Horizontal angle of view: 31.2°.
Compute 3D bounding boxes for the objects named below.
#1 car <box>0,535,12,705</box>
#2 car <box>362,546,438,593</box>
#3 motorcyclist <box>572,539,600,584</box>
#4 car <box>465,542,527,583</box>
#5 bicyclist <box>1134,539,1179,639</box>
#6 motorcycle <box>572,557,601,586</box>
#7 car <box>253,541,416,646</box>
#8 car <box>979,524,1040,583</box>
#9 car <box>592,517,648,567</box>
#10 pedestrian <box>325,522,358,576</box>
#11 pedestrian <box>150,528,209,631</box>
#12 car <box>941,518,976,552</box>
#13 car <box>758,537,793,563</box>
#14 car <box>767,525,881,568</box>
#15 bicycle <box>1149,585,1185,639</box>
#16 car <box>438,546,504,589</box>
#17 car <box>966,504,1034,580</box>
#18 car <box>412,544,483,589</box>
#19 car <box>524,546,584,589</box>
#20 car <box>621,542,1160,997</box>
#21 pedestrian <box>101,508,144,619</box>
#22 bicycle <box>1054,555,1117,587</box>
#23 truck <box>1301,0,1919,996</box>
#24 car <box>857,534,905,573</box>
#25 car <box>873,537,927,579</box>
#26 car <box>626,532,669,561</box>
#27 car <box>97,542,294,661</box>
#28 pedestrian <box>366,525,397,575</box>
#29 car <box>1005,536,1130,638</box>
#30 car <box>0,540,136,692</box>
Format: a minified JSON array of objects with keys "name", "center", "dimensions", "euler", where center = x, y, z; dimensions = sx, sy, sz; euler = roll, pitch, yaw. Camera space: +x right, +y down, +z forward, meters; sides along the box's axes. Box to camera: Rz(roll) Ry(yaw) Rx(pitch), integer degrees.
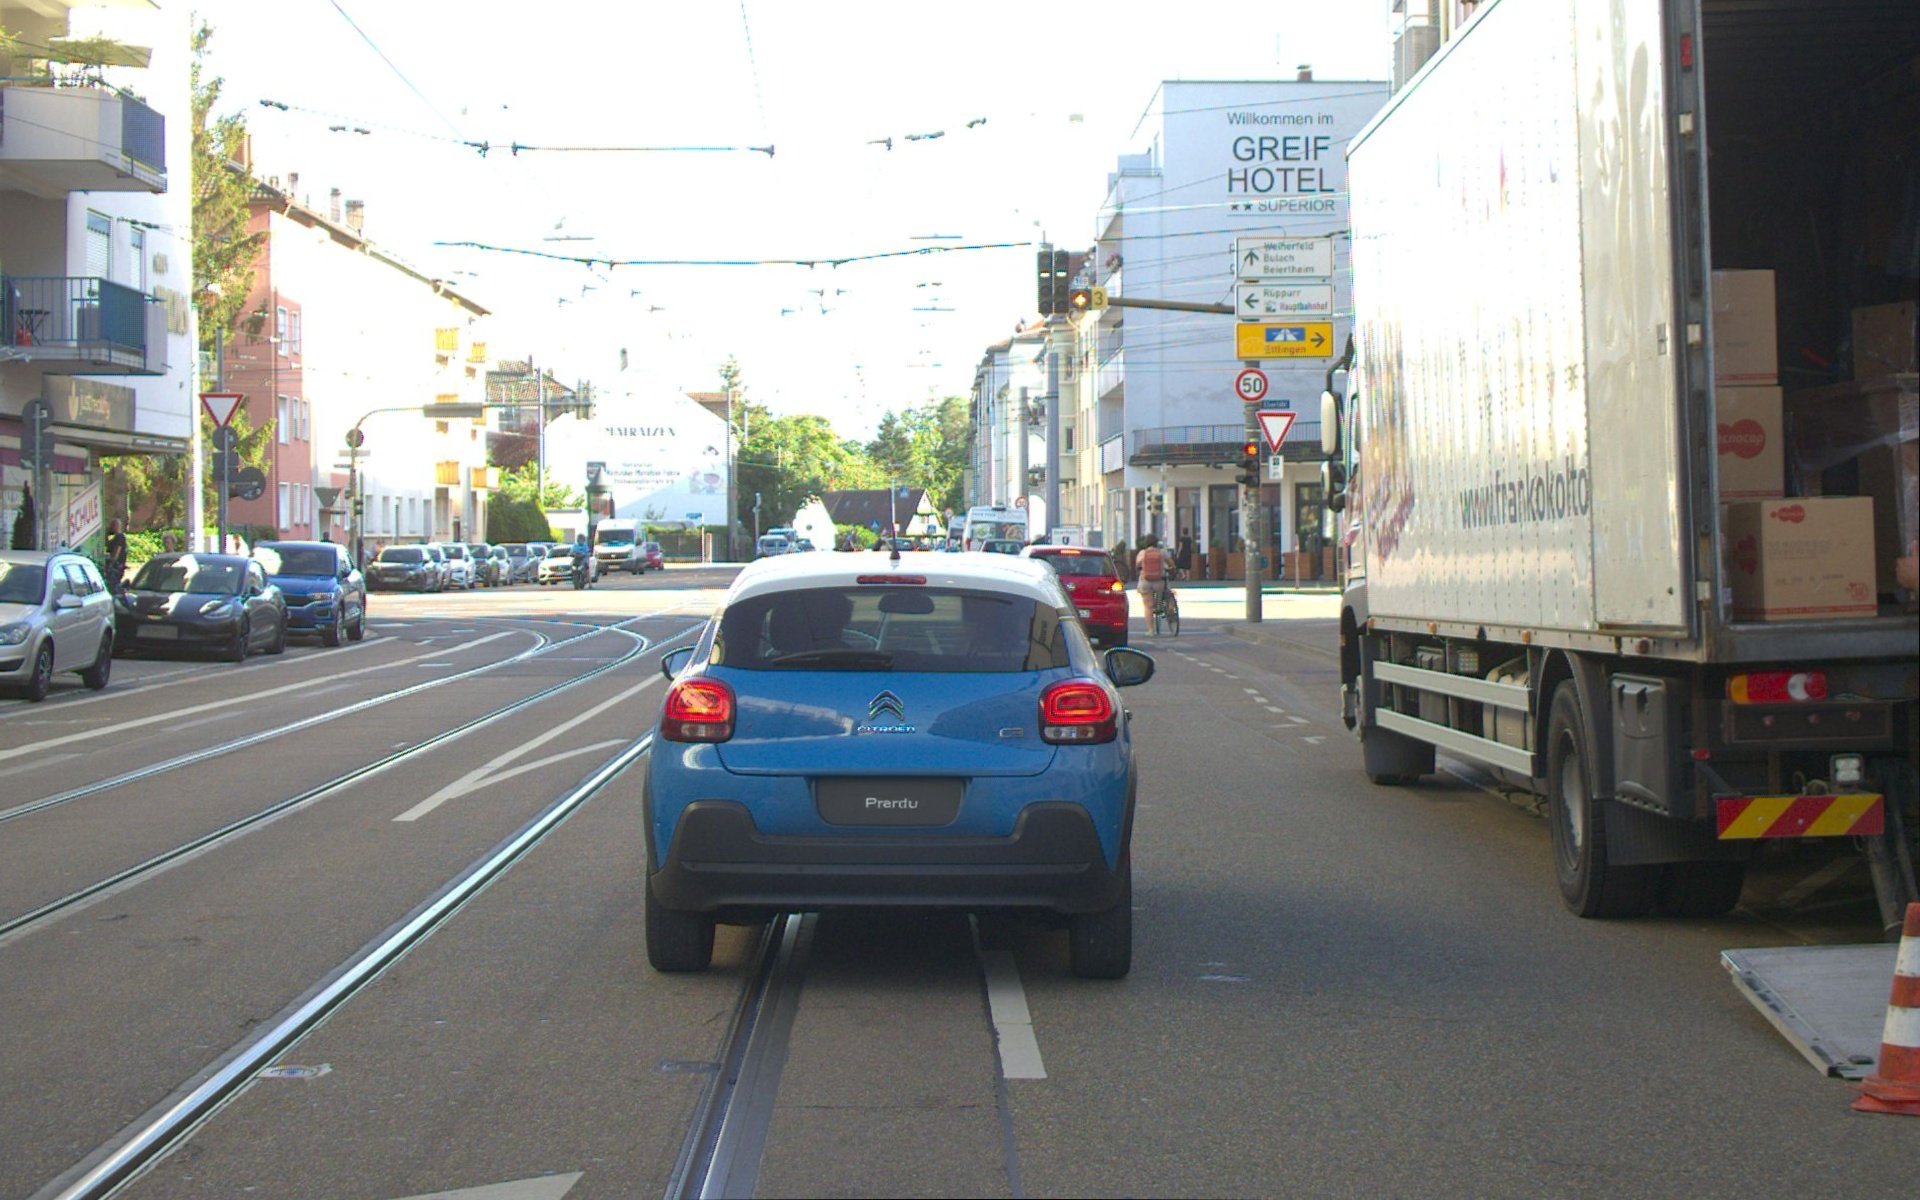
[{"name":"car","center":[-9.934,0.179,30.770],"dimensions":[1.699,1.610,4.244],"euler":[2,0,0]},{"name":"car","center":[-17.305,-0.958,106.409],"dimensions":[1.911,1.428,4.001],"euler":[0,1,-3]},{"name":"motorcyclist","center":[-11.351,-1.166,104.389],"dimensions":[0.719,1.373,0.911],"euler":[0,1,3]},{"name":"car","center":[-17.499,-1.420,129.717],"dimensions":[1.911,1.492,4.000],"euler":[0,1,-2]},{"name":"bicyclist","center":[3.248,-0.190,56.777],"dimensions":[0.726,1.640,0.790],"euler":[0,1,2]},{"name":"motorcycle","center":[-11.355,-0.882,104.549],"dimensions":[0.615,0.861,1.671],"euler":[0,1,3]},{"name":"car","center":[-9.560,-0.116,52.802],"dimensions":[1.744,1.504,4.000],"euler":[2,0,0]},{"name":"car","center":[1.479,-1.412,104.118],"dimensions":[1.732,1.744,3.214],"euler":[1,1,-1]},{"name":"car","center":[-15.505,-2.640,156.891],"dimensions":[2.207,2.243,4.677],"euler":[0,1,-1]},{"name":"pedestrian","center":[-19.319,-1.591,107.442],"dimensions":[0.844,1.684,0.737],"euler":[0,1,5]},{"name":"pedestrian","center":[-11.878,-0.318,52.350],"dimensions":[0.697,1.543,0.721],"euler":[0,2,3]},{"name":"car","center":[-0.073,-3.177,168.172],"dimensions":[1.689,1.612,4.000],"euler":[1,1,0]},{"name":"car","center":[-11.093,-3.014,206.782],"dimensions":[2.021,1.520,4.000],"euler":[0,1,-2]},{"name":"car","center":[-5.242,-2.066,132.319],"dimensions":[3.992,1.634,1.812],"euler":[0,1,24]},{"name":"bicycle","center":[3.437,0.189,57.127],"dimensions":[0.498,0.861,1.749],"euler":[0,1,0]},{"name":"car","center":[-17.555,-1.174,123.576],"dimensions":[1.911,1.492,4.000],"euler":[0,1,-2]},{"name":"car","center":[1.251,-1.822,109.047],"dimensions":[1.993,2.317,4.000],"euler":[1,1,-1]},{"name":"car","center":[-17.380,-1.145,116.776],"dimensions":[1.911,1.492,4.000],"euler":[0,1,-2]},{"name":"car","center":[-15.154,-1.239,128.526],"dimensions":[1.849,1.568,4.401],"euler":[0,1,-2]},{"name":"car","center":[-0.350,0.527,13.315],"dimensions":[1.743,1.457,4.001],"euler":[1,1,-4]},{"name":"pedestrian","center":[-15.298,-0.671,62.829],"dimensions":[0.686,2.007,0.486],"euler":[0,1,-3]},{"name":"bicycle","center":[3.791,-0.874,103.528],"dimensions":[1.874,0.953,0.701],"euler":[0,1,4]},{"name":"truck","center":[3.681,-0.842,17.239],"dimensions":[2.860,4.059,11.779],"euler":[0,1,1]},{"name":"car","center":[-3.376,-2.006,148.124],"dimensions":[1.993,1.612,4.000],"euler":[1,1,-1]},{"name":"car","center":[-2.221,-1.572,127.472],"dimensions":[1.993,1.503,4.000],"euler":[0,1,-1]},{"name":"car","center":[-16.548,-2.855,182.301],"dimensions":[2.021,1.520,4.000],"euler":[0,1,-2]},{"name":"car","center":[-10.325,0.003,46.717],"dimensions":[1.699,1.504,4.312],"euler":[2,0,0]},{"name":"pedestrian","center":[-19.250,-1.667,114.415],"dimensions":[0.844,1.684,0.737],"euler":[0,1,5]},{"name":"car","center":[1.583,-0.219,50.076],"dimensions":[1.738,1.415,4.000],"euler":[0,1,2]},{"name":"car","center":[-10.107,0.128,36.508],"dimensions":[1.699,1.504,4.387],"euler":[2,0,-1]}]
